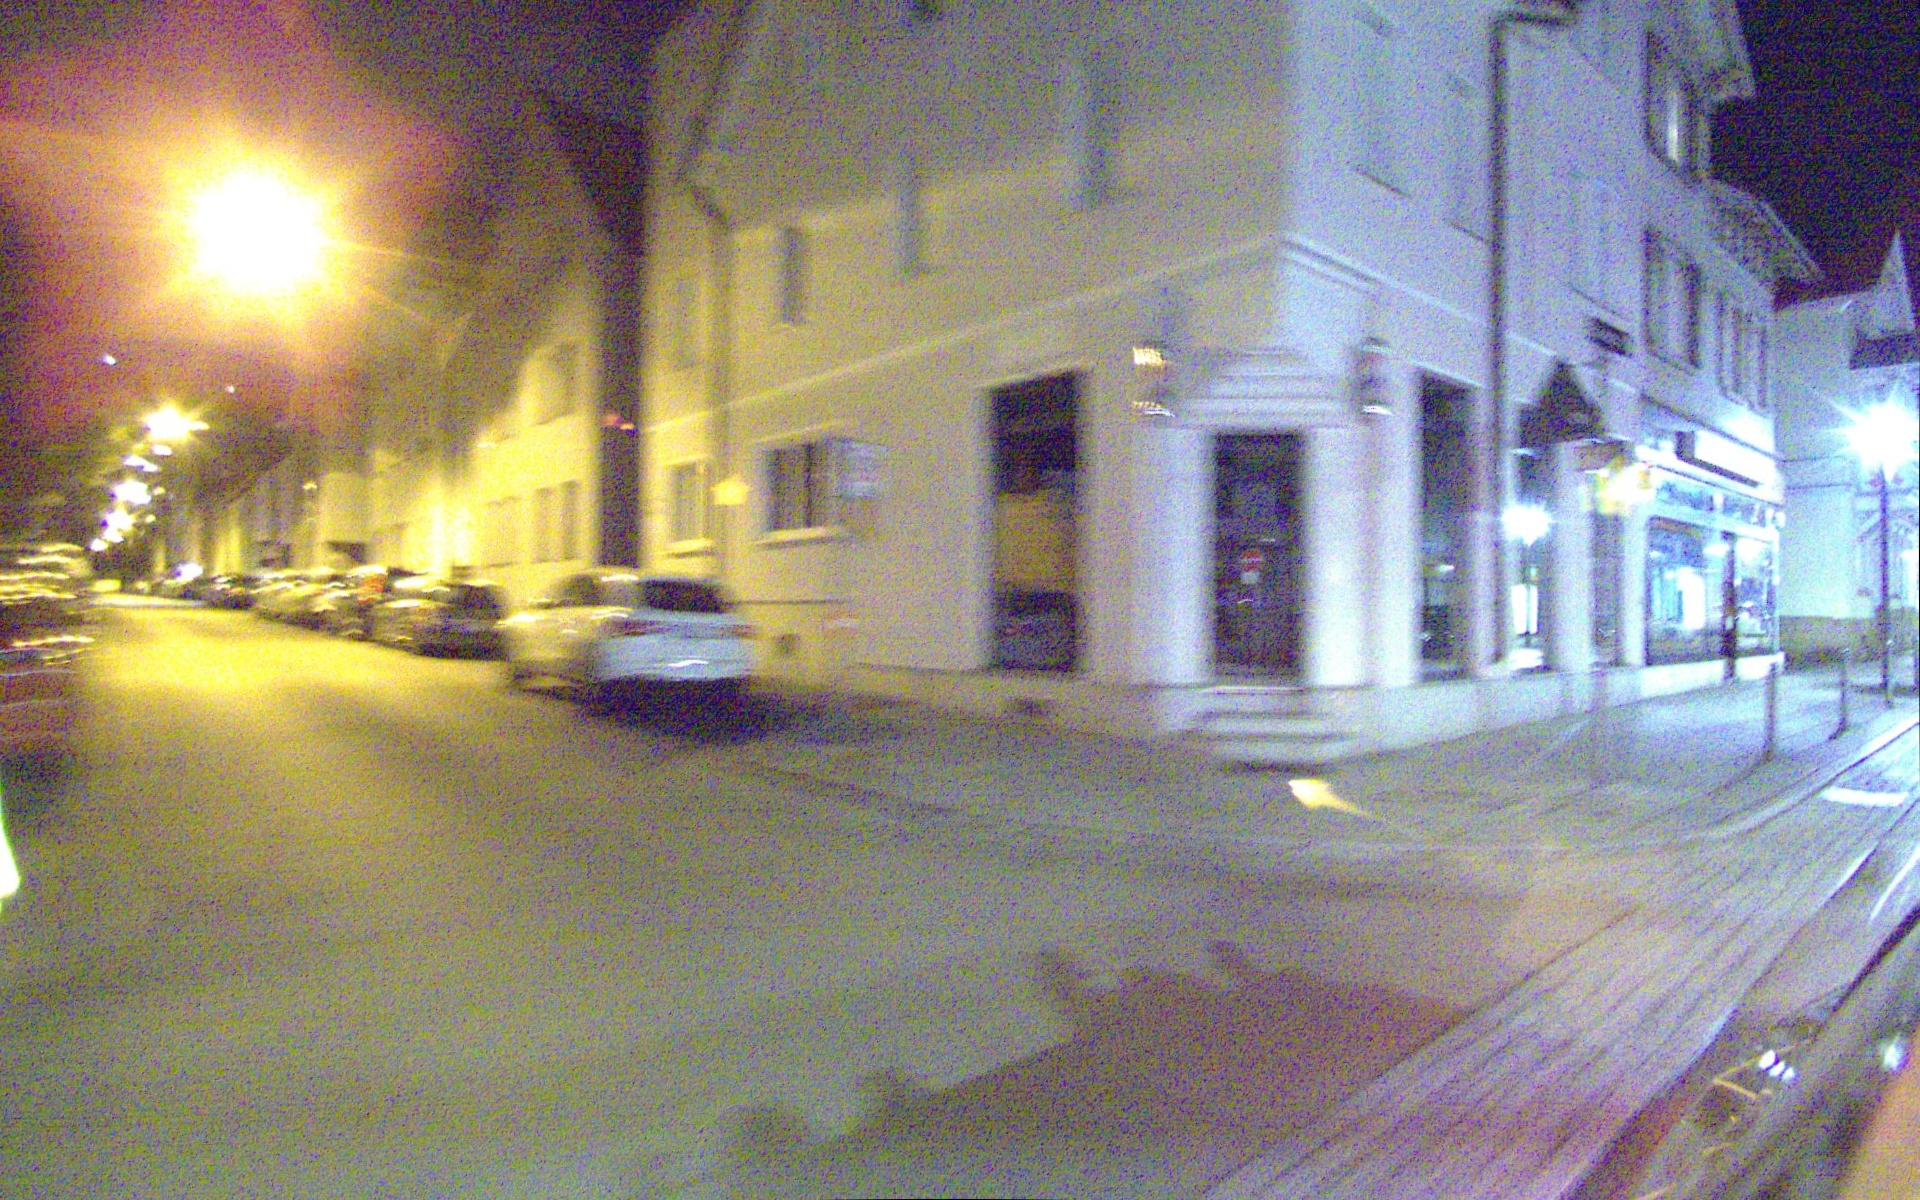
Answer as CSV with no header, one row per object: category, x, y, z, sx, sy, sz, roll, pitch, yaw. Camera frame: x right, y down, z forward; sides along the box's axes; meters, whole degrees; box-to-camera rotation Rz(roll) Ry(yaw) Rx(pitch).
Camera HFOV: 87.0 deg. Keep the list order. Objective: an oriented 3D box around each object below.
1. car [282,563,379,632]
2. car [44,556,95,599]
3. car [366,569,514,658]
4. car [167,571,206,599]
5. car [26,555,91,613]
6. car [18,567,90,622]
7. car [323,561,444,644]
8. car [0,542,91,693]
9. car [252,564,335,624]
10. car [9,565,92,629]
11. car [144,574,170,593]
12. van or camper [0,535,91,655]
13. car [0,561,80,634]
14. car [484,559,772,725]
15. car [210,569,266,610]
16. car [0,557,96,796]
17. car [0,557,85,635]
car,-17.331,-0.090,27.798,1.667,1.687,3.944,4,-1,-39
car,-39.441,-1.044,44.871,1.538,1.713,3.267,-5,6,-40
car,-10.083,0.218,19.504,1.667,1.499,3.944,4,-1,-39
car,-47.748,-0.919,62.446,1.667,1.567,3.743,4,-1,-39
car,-32.104,-0.626,36.115,1.538,1.871,3.267,-5,6,-40
car,-28.759,-0.232,32.181,1.538,1.518,3.267,-5,6,-40
car,-13.244,0.019,23.152,1.667,1.687,3.944,4,-1,-39
car,-11.549,0.140,12.167,1.633,1.608,3.859,0,1,-41
car,-21.040,-0.224,31.884,1.667,1.687,4.212,4,-1,-39
car,-24.934,-0.138,27.829,1.538,1.518,3.267,-5,6,-40
car,-73.500,-1.523,92.611,1.667,1.567,3.743,4,-1,-39
van or camper,-15.187,-0.093,16.409,1.633,1.776,3.571,0,1,-41
car,-22.205,-0.116,24.186,1.634,1.518,3.267,-5,6,-40
car,-4.211,0.397,12.389,1.866,1.659,4.315,3,0,-39
car,-31.290,-0.471,43.823,1.667,1.567,3.743,4,-1,-39
car,-7.510,0.428,7.489,1.695,1.459,3.621,0,3,-41
car,-19.492,-0.106,21.248,1.633,1.519,3.266,1,0,-41
